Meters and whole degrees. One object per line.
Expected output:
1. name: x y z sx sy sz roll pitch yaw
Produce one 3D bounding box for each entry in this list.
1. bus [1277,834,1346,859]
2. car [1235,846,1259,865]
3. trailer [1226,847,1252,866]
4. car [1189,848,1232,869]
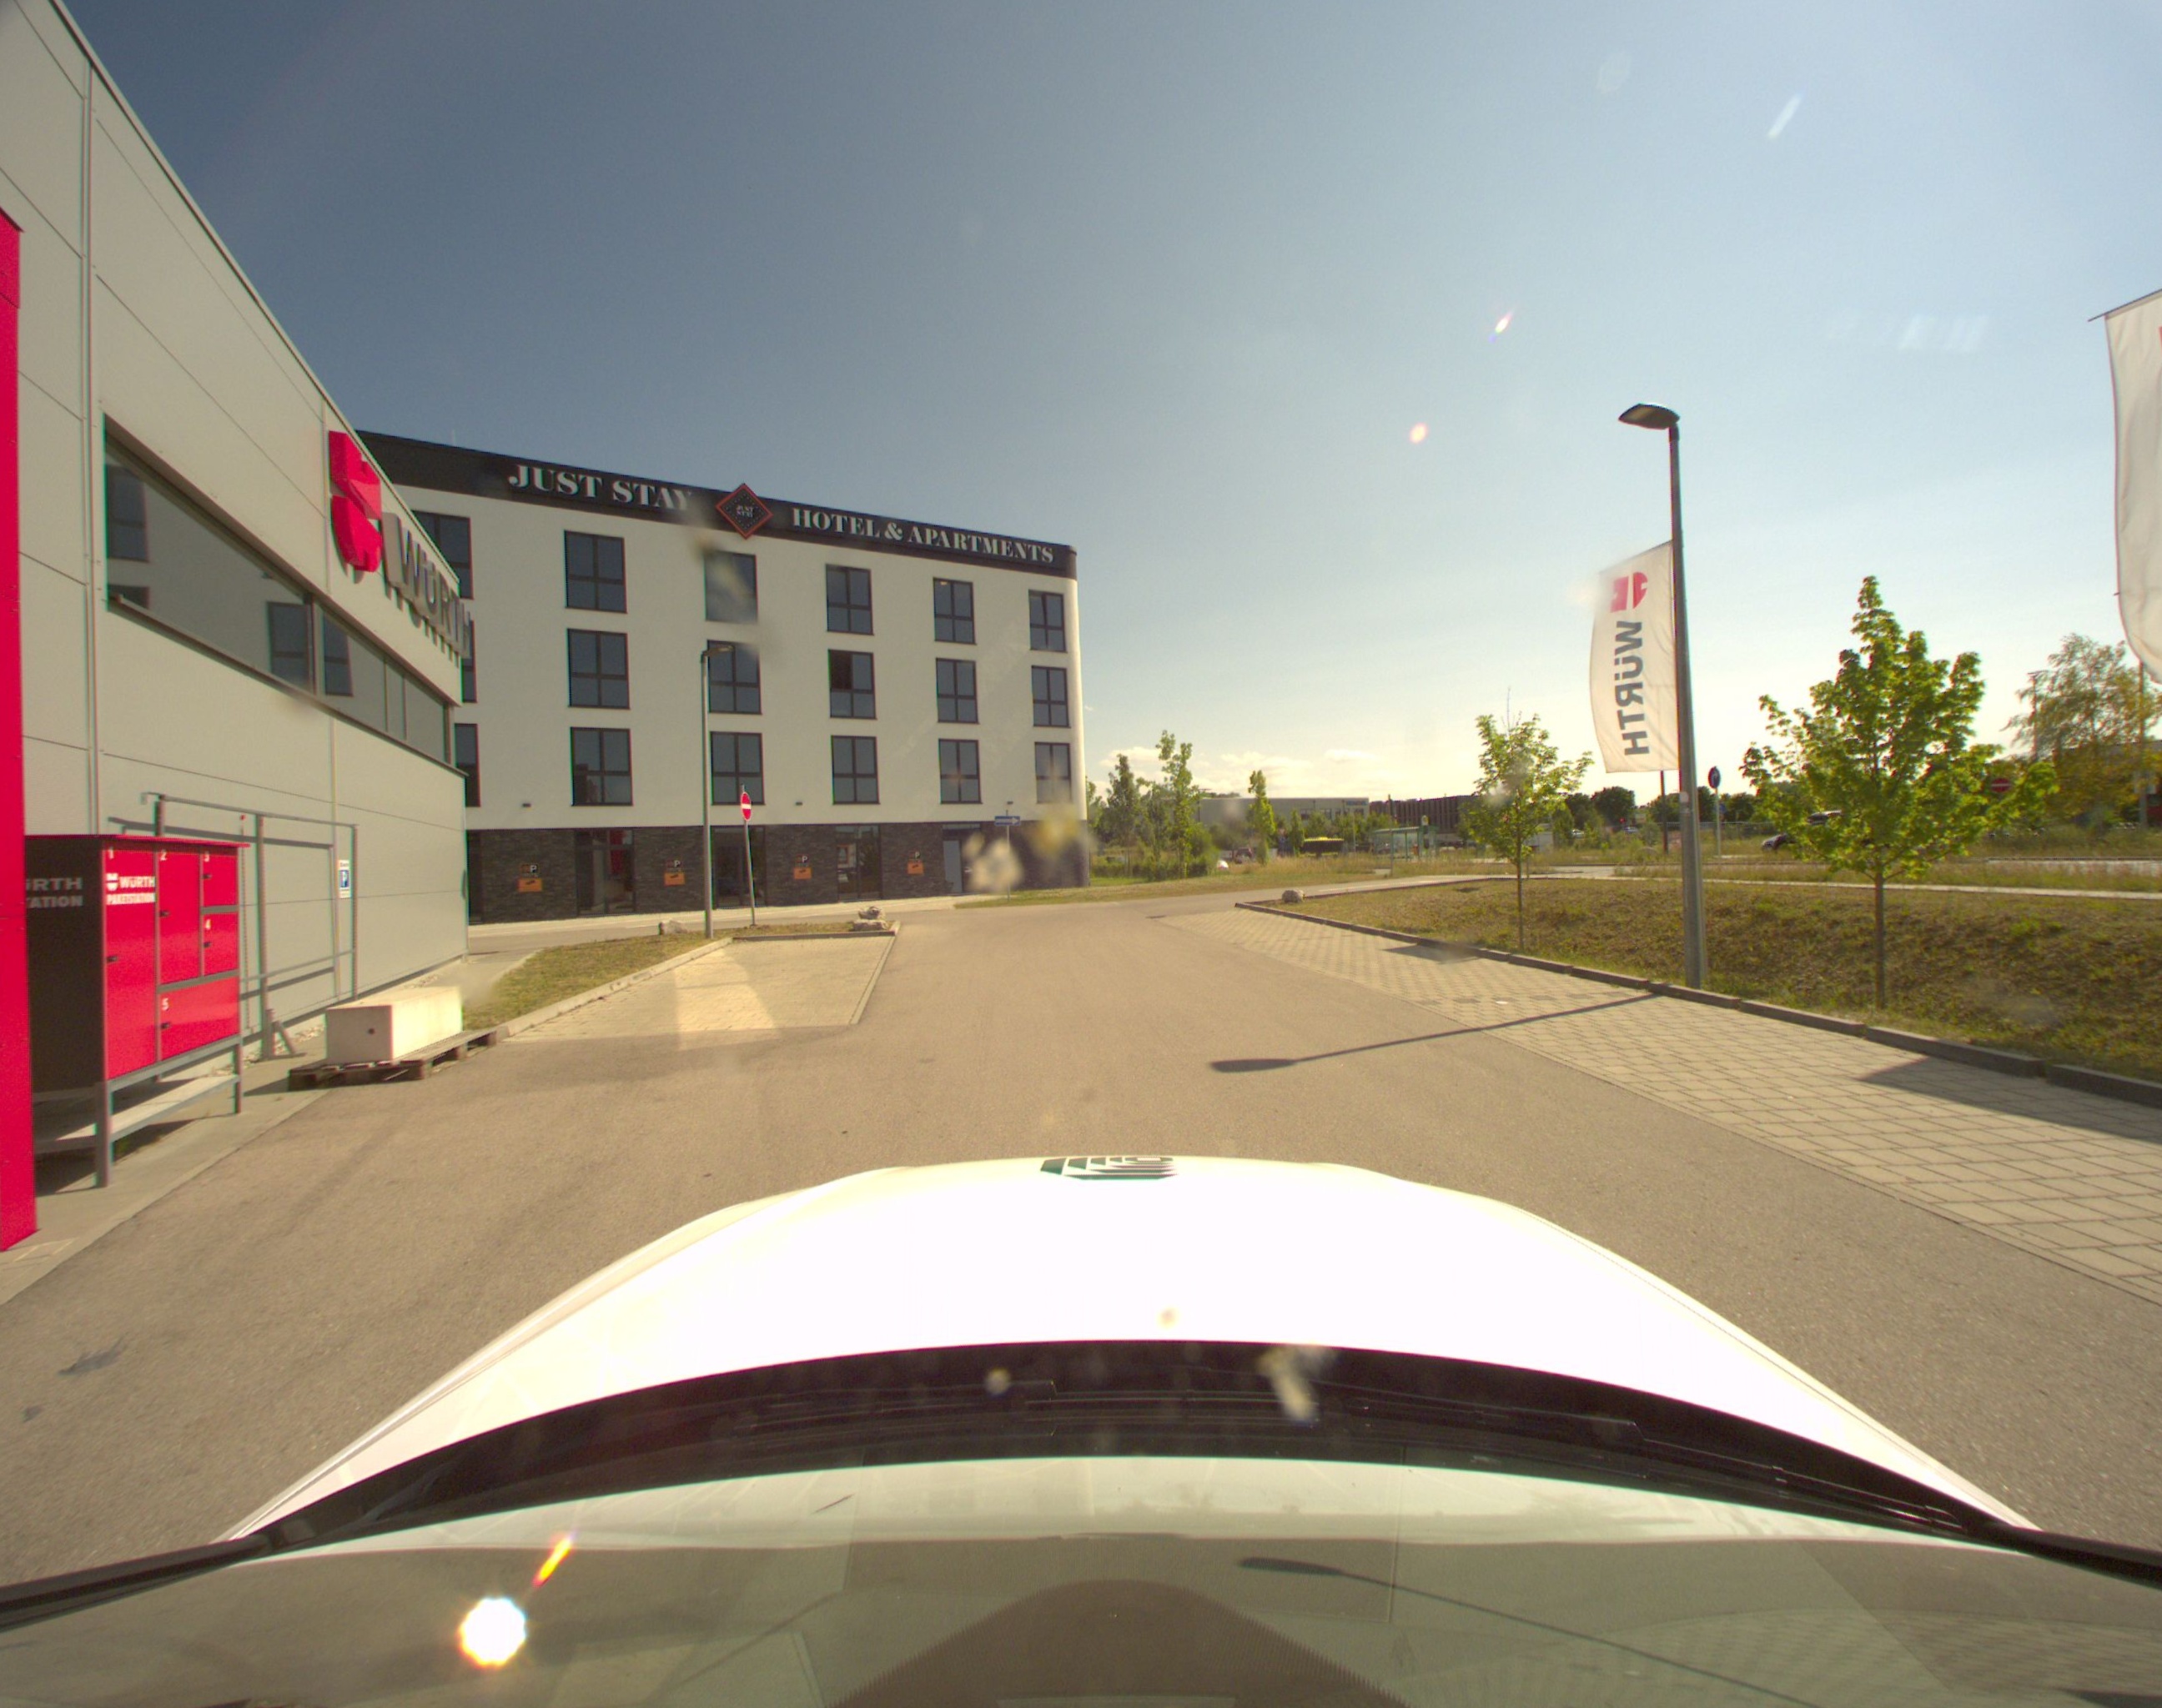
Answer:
1. bus: 29.722 -1.043 104.444 11.633 2.735 2.549 -3 0 -42
2. car: 18.057 0.148 88.325 1.806 1.860 4.022 -2 0 22
3. trailer: 16.433 0.206 84.723 1.806 1.860 4.022 -2 0 22
4. car: 9.860 0.341 62.339 1.741 1.551 3.760 -2 0 -18
